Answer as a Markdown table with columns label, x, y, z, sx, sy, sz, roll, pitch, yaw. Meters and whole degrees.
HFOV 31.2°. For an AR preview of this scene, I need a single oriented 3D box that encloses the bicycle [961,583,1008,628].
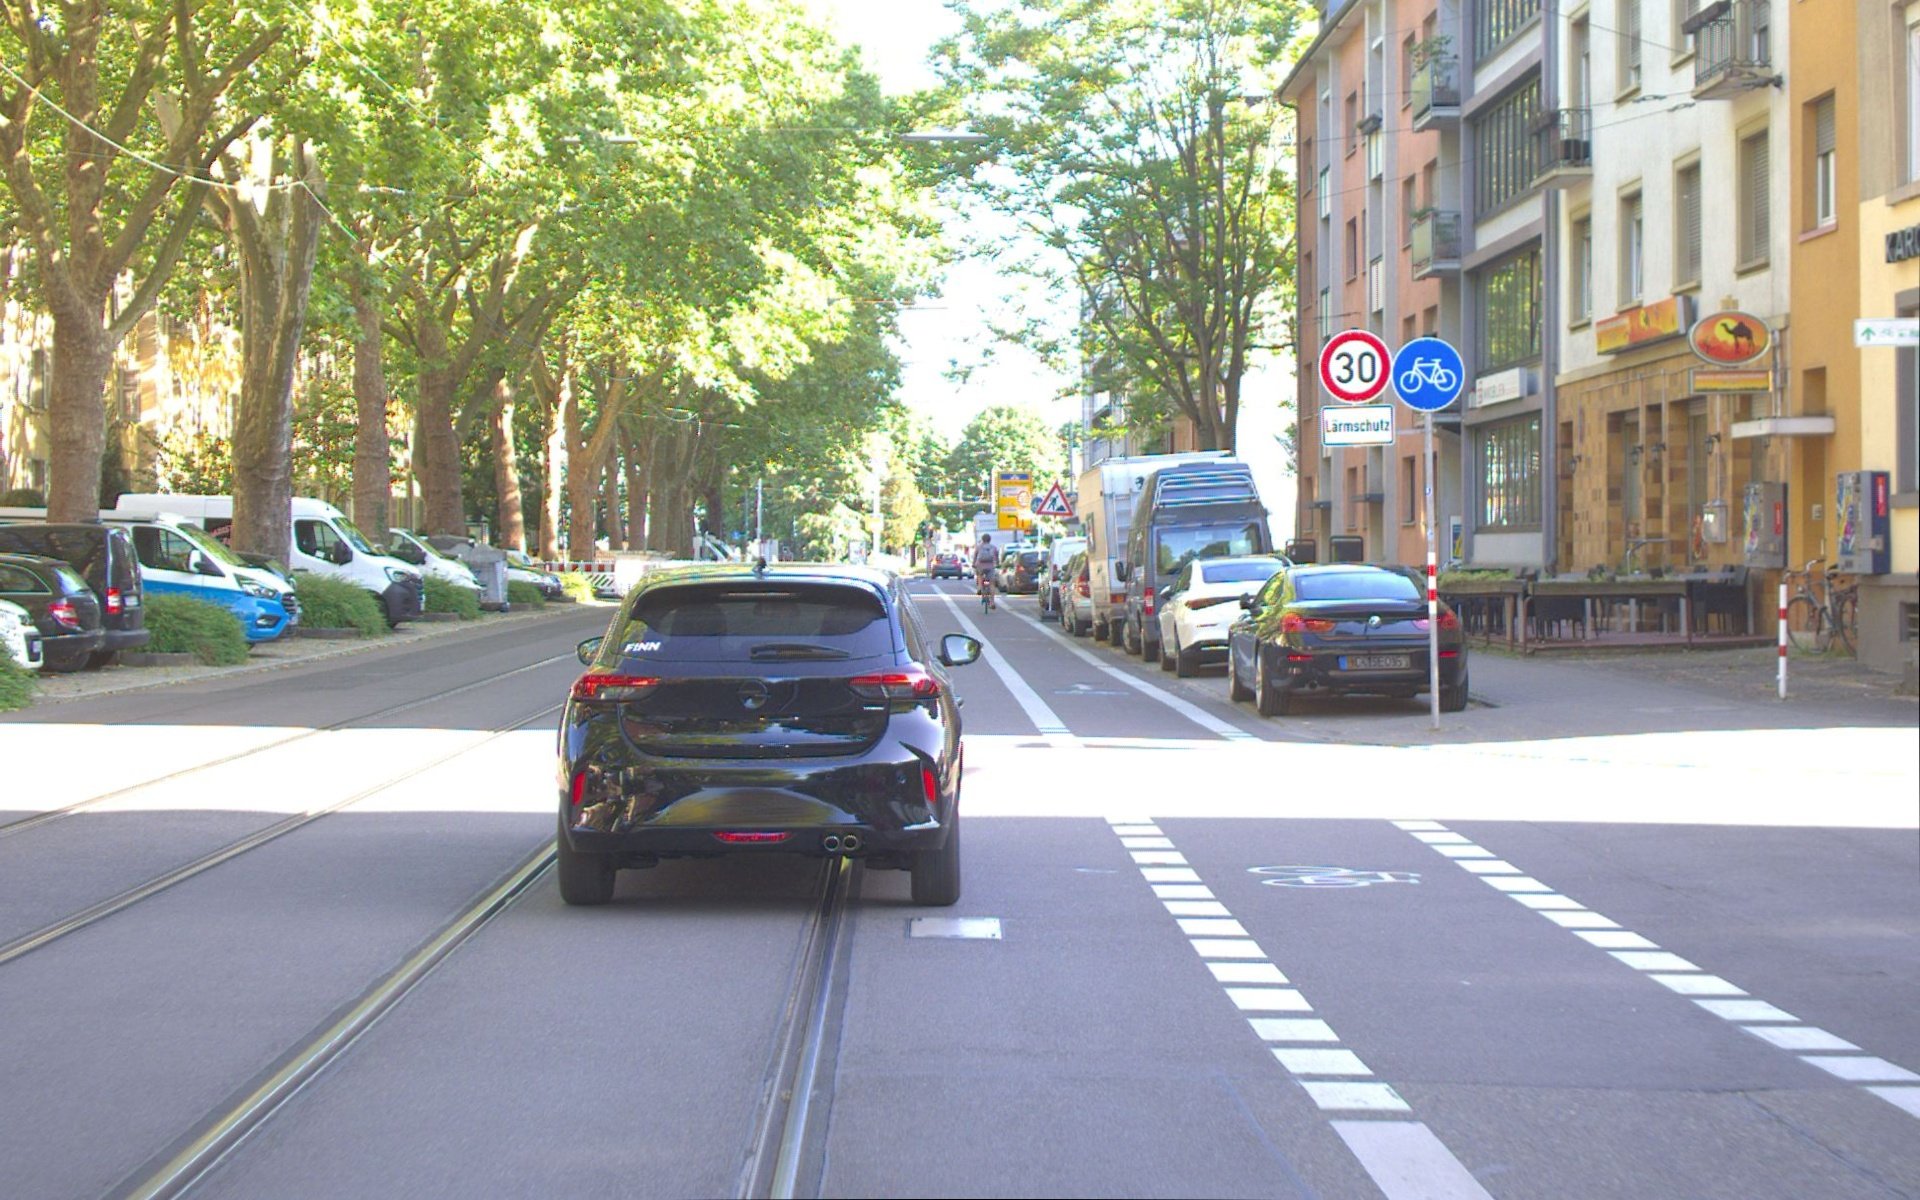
| label | x | y | z | sx | sy | sz | roll | pitch | yaw |
| --- | --- | --- | --- | --- | --- | --- | --- | --- | --- |
| bicycle | 0.576 | 0.118 | 81.363 | 0.968 | 0.995 | 2.583 | 1 | 1 | -2 |

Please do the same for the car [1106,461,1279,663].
| label | x | y | z | sx | sy | sz | roll | pitch | yaw |
| --- | --- | --- | --- | --- | --- | --- | --- | --- | --- |
| car | 3.318 | -0.582 | 49.866 | 2.085 | 2.762 | 4.698 | -1 | 1 | -1 |

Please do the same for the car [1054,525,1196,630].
| label | x | y | z | sx | sy | sz | roll | pitch | yaw |
| --- | --- | --- | --- | --- | --- | --- | --- | --- | --- |
| car | 2.996 | -0.436 | 63.632 | 2.254 | 1.834 | 5.531 | -1 | 1 | -1 |

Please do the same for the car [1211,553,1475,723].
| label | x | y | z | sx | sy | sz | roll | pitch | yaw |
| --- | --- | --- | --- | --- | --- | --- | --- | --- | --- |
| car | 3.541 | 0.301 | 32.577 | 1.884 | 1.429 | 4.530 | -2 | 1 | -1 |

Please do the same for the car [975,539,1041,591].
| label | x | y | z | sx | sy | sz | roll | pitch | yaw |
| --- | --- | --- | --- | --- | --- | --- | --- | --- | --- |
| car | 1.747 | -1.305 | 126.677 | 2.254 | 1.834 | 5.531 | -1 | 1 | -1 |

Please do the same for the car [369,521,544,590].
| label | x | y | z | sx | sy | sz | roll | pitch | yaw |
| --- | --- | --- | --- | --- | --- | --- | --- | --- | --- |
| car | -12.889 | -1.131 | 88.000 | 4.353 | 1.659 | 2.001 | 1 | 1 | -9 |

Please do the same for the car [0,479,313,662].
| label | x | y | z | sx | sy | sz | roll | pitch | yaw |
| --- | --- | --- | --- | --- | --- | --- | --- | --- | --- |
| car | -12.026 | -0.400 | 49.173 | 5.036 | 2.366 | 2.081 | -3 | 1 | 0 |

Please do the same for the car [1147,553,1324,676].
| label | x | y | z | sx | sy | sz | roll | pitch | yaw |
| --- | --- | --- | --- | --- | --- | --- | --- | --- | --- |
| car | 3.368 | 0.178 | 42.671 | 1.803 | 1.429 | 4.000 | -1 | 0 | -1 |

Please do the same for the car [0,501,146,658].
| label | x | y | z | sx | sy | sz | roll | pitch | yaw |
| --- | --- | --- | --- | --- | --- | --- | --- | --- | --- |
| car | -12.383 | -0.183 | 42.476 | 4.298 | 1.834 | 1.783 | -3 | 1 | -8 |

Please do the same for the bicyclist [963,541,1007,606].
| label | x | y | z | sx | sy | sz | roll | pitch | yaw |
| --- | --- | --- | --- | --- | --- | --- | --- | --- | --- |
| bicyclist | 0.591 | -0.632 | 81.305 | 0.958 | 1.494 | 1.094 | 1 | 1 | -2 |

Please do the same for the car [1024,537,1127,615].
| label | x | y | z | sx | sy | sz | roll | pitch | yaw |
| --- | --- | --- | --- | --- | --- | --- | --- | --- | --- |
| car | 2.808 | -0.615 | 85.013 | 2.254 | 1.834 | 5.531 | -1 | 1 | -1 |

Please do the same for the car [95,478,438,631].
| label | x | y | z | sx | sy | sz | roll | pitch | yaw |
| --- | --- | --- | --- | --- | --- | --- | --- | --- | --- |
| car | -12.445 | -0.822 | 61.882 | 5.639 | 2.584 | 2.196 | 1 | 1 | 3 |

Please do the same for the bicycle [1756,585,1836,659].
| label | x | y | z | sx | sy | sz | roll | pitch | yaw |
| --- | --- | --- | --- | --- | --- | --- | --- | --- | --- |
| bicycle | 9.303 | 0.236 | 38.311 | 0.409 | 0.786 | 1.791 | 1 | 1 | -1 |

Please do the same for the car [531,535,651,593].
| label | x | y | z | sx | sy | sz | roll | pitch | yaw |
| --- | --- | --- | --- | --- | --- | --- | --- | --- | --- |
| car | -13.358 | -1.294 | 124.554 | 3.988 | 2.007 | 2.000 | 1 | 1 | 6 |

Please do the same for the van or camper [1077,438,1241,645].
| label | x | y | z | sx | sy | sz | roll | pitch | yaw |
| --- | --- | --- | --- | --- | --- | --- | --- | --- | --- |
| van or camper | 3.199 | -0.948 | 56.426 | 2.254 | 3.205 | 5.531 | -1 | 1 | -1 |

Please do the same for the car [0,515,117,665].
| label | x | y | z | sx | sy | sz | roll | pitch | yaw |
| --- | --- | --- | --- | --- | --- | --- | --- | --- | --- |
| car | -12.181 | -0.038 | 40.149 | 4.298 | 1.669 | 1.783 | -3 | 1 | -8 |

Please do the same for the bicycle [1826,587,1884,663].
| label | x | y | z | sx | sy | sz | roll | pitch | yaw |
| --- | --- | --- | --- | --- | --- | --- | --- | --- | --- |
| bicycle | 9.663 | 0.260 | 37.132 | 0.474 | 0.786 | 1.790 | 1 | 1 | 11 |

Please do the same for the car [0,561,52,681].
| label | x | y | z | sx | sy | sz | roll | pitch | yaw |
| --- | --- | --- | --- | --- | --- | --- | --- | --- | --- |
| car | -12.414 | 0.329 | 38.119 | 4.298 | 1.286 | 1.711 | -3 | 1 | -8 |

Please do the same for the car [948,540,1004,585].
| label | x | y | z | sx | sy | sz | roll | pitch | yaw |
| --- | --- | --- | --- | --- | --- | --- | --- | --- | --- |
| car | 0.657 | -1.585 | 146.005 | 2.254 | 1.834 | 5.531 | -1 | 1 | -1 |

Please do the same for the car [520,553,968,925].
| label | x | y | z | sx | sy | sz | roll | pitch | yaw |
| --- | --- | --- | --- | --- | --- | --- | --- | --- | --- |
| car | -0.885 | 0.529 | 15.714 | 1.763 | 1.455 | 3.950 | 1 | 1 | -1 |

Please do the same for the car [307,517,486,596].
| label | x | y | z | sx | sy | sz | roll | pitch | yaw |
| --- | --- | --- | --- | --- | --- | --- | --- | --- | --- |
| car | -13.556 | -1.049 | 82.796 | 4.175 | 1.788 | 2.001 | 1 | 1 | -9 |

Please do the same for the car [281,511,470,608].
| label | x | y | z | sx | sy | sz | roll | pitch | yaw |
| --- | --- | --- | --- | --- | --- | --- | --- | --- | --- |
| car | -12.729 | -0.887 | 74.984 | 3.986 | 2.007 | 2.001 | 1 | 1 | -9 |
